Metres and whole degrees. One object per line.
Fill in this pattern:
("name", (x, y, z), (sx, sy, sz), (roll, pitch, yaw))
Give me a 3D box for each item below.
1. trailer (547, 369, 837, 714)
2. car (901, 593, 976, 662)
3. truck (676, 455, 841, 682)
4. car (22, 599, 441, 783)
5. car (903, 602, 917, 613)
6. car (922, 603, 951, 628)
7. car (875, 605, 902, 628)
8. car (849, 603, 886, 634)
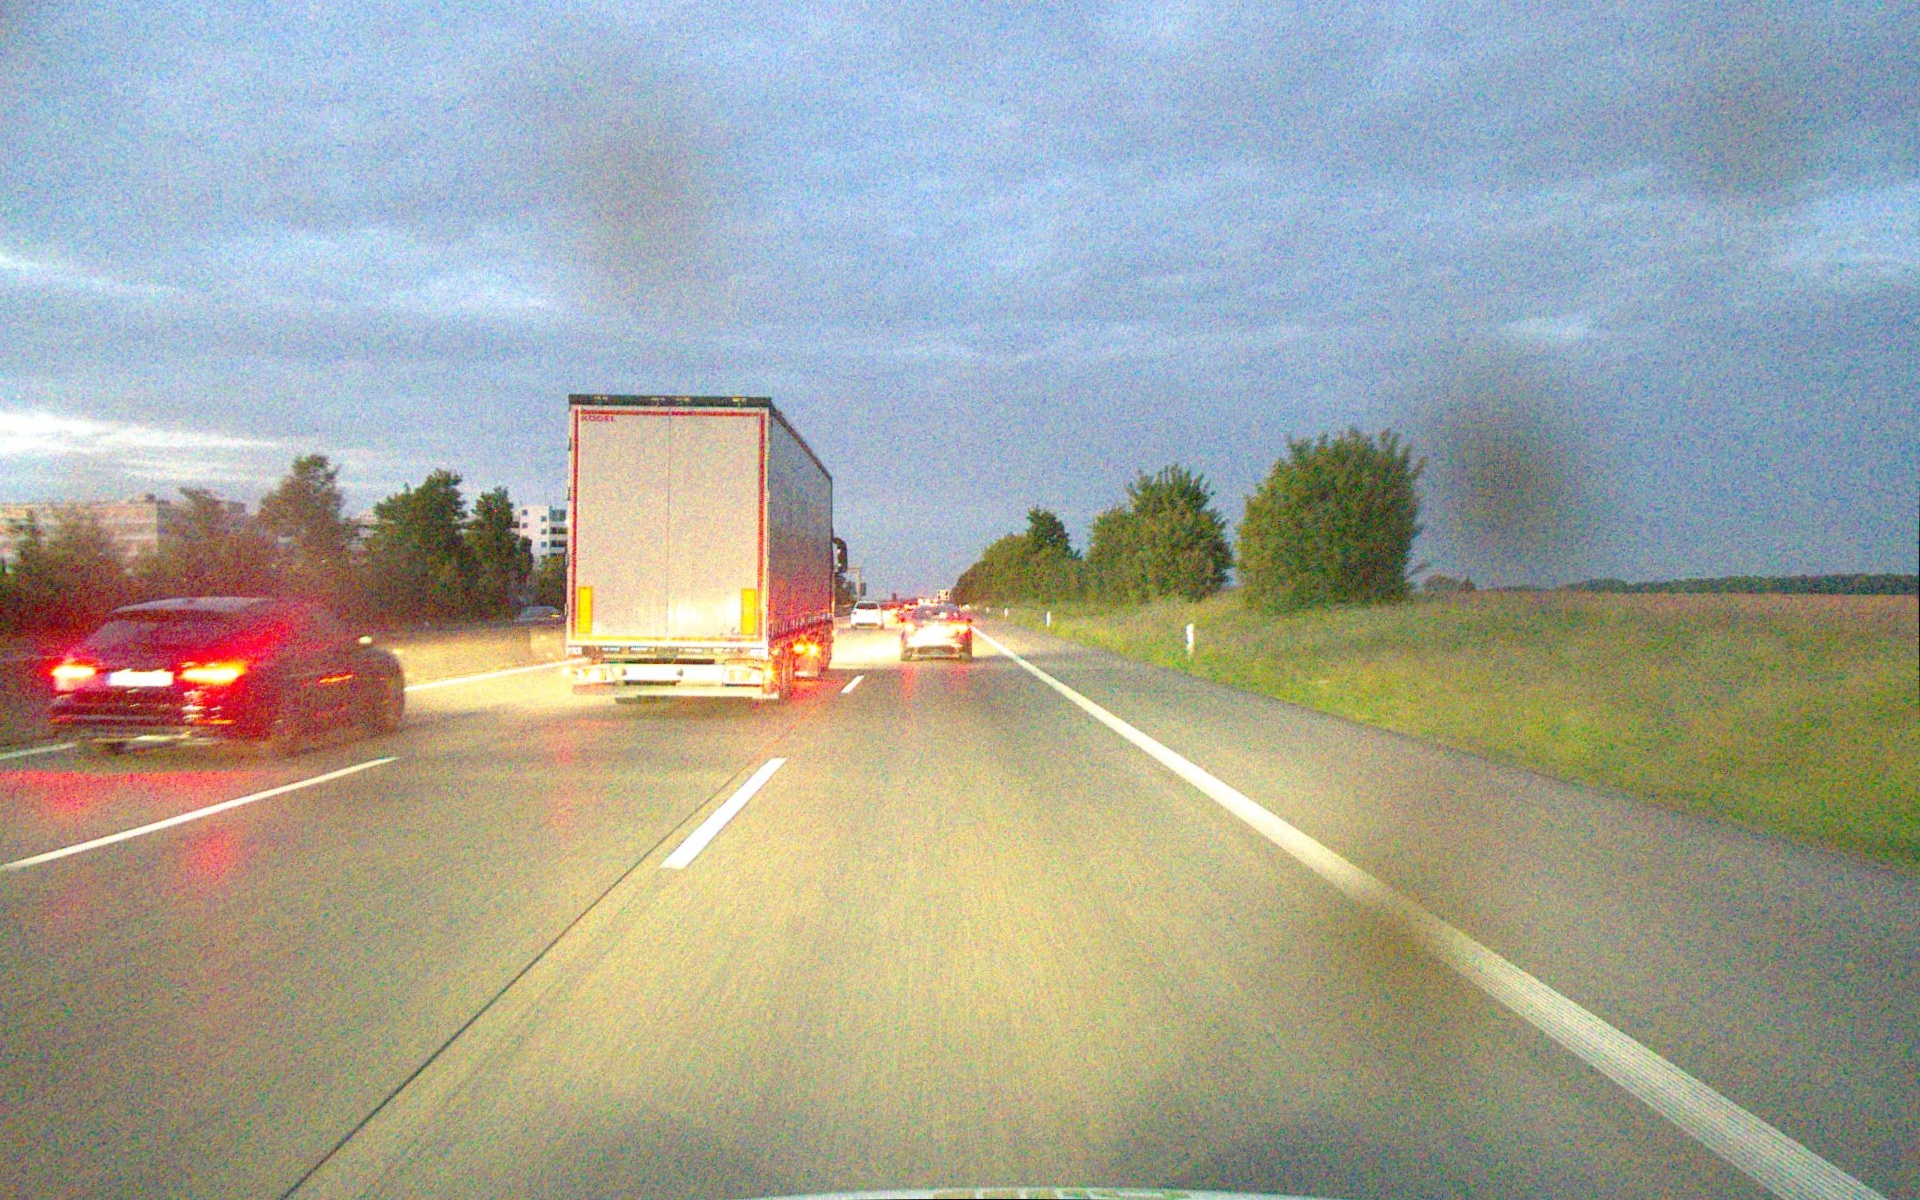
("trailer", (-3.758, -0.629, 27.183), (2.737, 4.157, 14.520), (0, -1, -1))
("car", (-0.559, 0.713, 43.217), (1.842, 1.672, 3.999), (1, -1, -1))
("truck", (-3.932, -0.546, 33.518), (2.721, 4.164, 6.100), (0, -1, -1))
("car", (-6.782, 0.741, 16.188), (1.777, 1.462, 5.393), (1, 0, -1))
("car", (-7.036, 1.056, 233.456), (1.842, 1.579, 3.999), (1, -1, -1))
("car", (-1.561, 0.995, 107.758), (1.842, 1.579, 3.999), (1, -1, -1))
("car", (-4.818, 1.128, 111.673), (1.688, 1.497, 4.724), (1, -1, -1))
("car", (-4.962, 0.994, 88.880), (1.708, 1.551, 4.413), (1, -1, 0))
